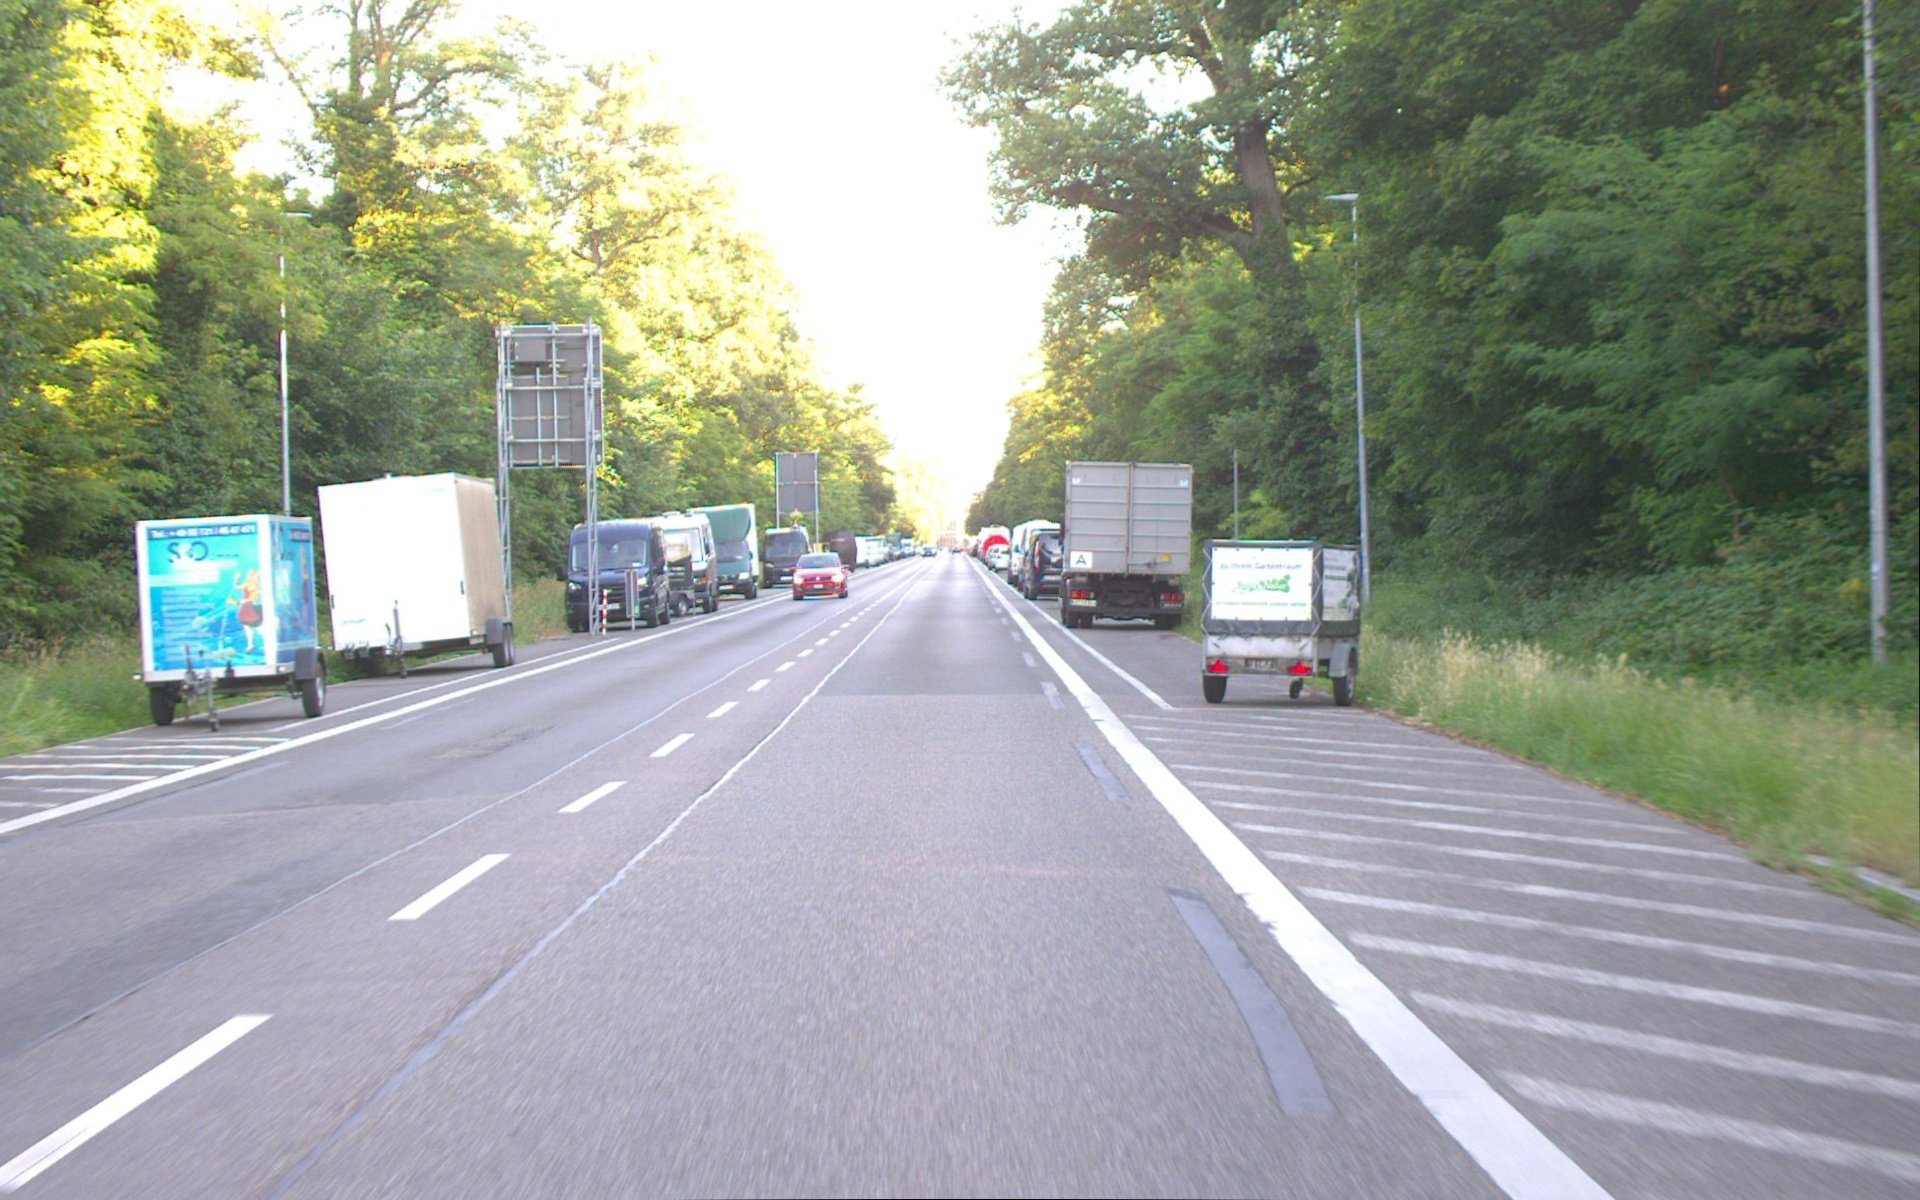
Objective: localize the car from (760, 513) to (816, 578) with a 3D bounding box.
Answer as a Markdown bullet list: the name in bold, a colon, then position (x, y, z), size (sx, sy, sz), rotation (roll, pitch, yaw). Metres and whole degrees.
- **car**: position (-7.686, -2.456, 153.886), size (2.186, 2.779, 5.334), rotation (-2, 1, 0)

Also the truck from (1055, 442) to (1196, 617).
- **truck**: position (3.169, -1.360, 67.478), size (2.589, 3.244, 7.220), rotation (0, 1, 1)

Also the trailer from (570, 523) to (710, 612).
- **trailer**: position (-8.181, -0.858, 88.150), size (1.965, 2.147, 3.926), rotation (-2, 1, 21)

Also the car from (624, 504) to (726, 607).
- **car**: position (-7.720, -1.228, 93.671), size (2.249, 2.638, 5.721), rotation (-2, 1, 0)

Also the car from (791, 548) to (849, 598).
- **car**: position (-4.450, -0.883, 109.793), size (1.682, 1.481, 4.038), rotation (-2, 1, -1)

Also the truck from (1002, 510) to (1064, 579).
- **truck**: position (2.816, -2.141, 133.587), size (2.141, 2.650, 4.300), rotation (0, 1, -2)

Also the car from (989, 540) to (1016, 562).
- **car**: position (2.431, -2.842, 198.481), size (1.427, 1.218, 3.412), rotation (-3, 1, 0)

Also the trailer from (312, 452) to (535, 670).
- **trailer**: position (-7.842, -0.594, 50.813), size (2.326, 2.914, 5.627), rotation (-3, 1, -1)

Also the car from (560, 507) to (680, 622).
- **car**: position (-7.589, -0.820, 77.247), size (1.993, 2.356, 5.766), rotation (-4, 1, 0)

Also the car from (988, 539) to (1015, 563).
- **car**: position (2.576, -3.062, 215.224), size (1.645, 1.481, 4.000), rotation (0, 1, 0)

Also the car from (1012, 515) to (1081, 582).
- **car**: position (3.006, -1.799, 120.500), size (2.141, 2.306, 4.300), rotation (0, 1, -2)

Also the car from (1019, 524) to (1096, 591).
- **car**: position (2.847, -1.250, 101.241), size (1.993, 1.948, 4.300), rotation (0, 1, -2)

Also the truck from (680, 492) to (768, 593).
- **truck**: position (-8.140, -2.013, 119.130), size (2.504, 3.317, 6.842), rotation (-2, 1, 0)

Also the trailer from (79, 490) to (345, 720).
- **trailer**: position (-7.576, 0.012, 35.207), size (1.817, 2.160, 4.143), rotation (-2, 1, -1)

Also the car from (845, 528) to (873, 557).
- **car**: position (-7.706, -4.355, 261.454), size (1.993, 2.007, 4.000), rotation (-1, 0, -3)

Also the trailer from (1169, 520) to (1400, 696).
- **trailer**: position (3.356, 0.041, 34.967), size (1.457, 1.656, 3.774), rotation (-2, 1, 19)
